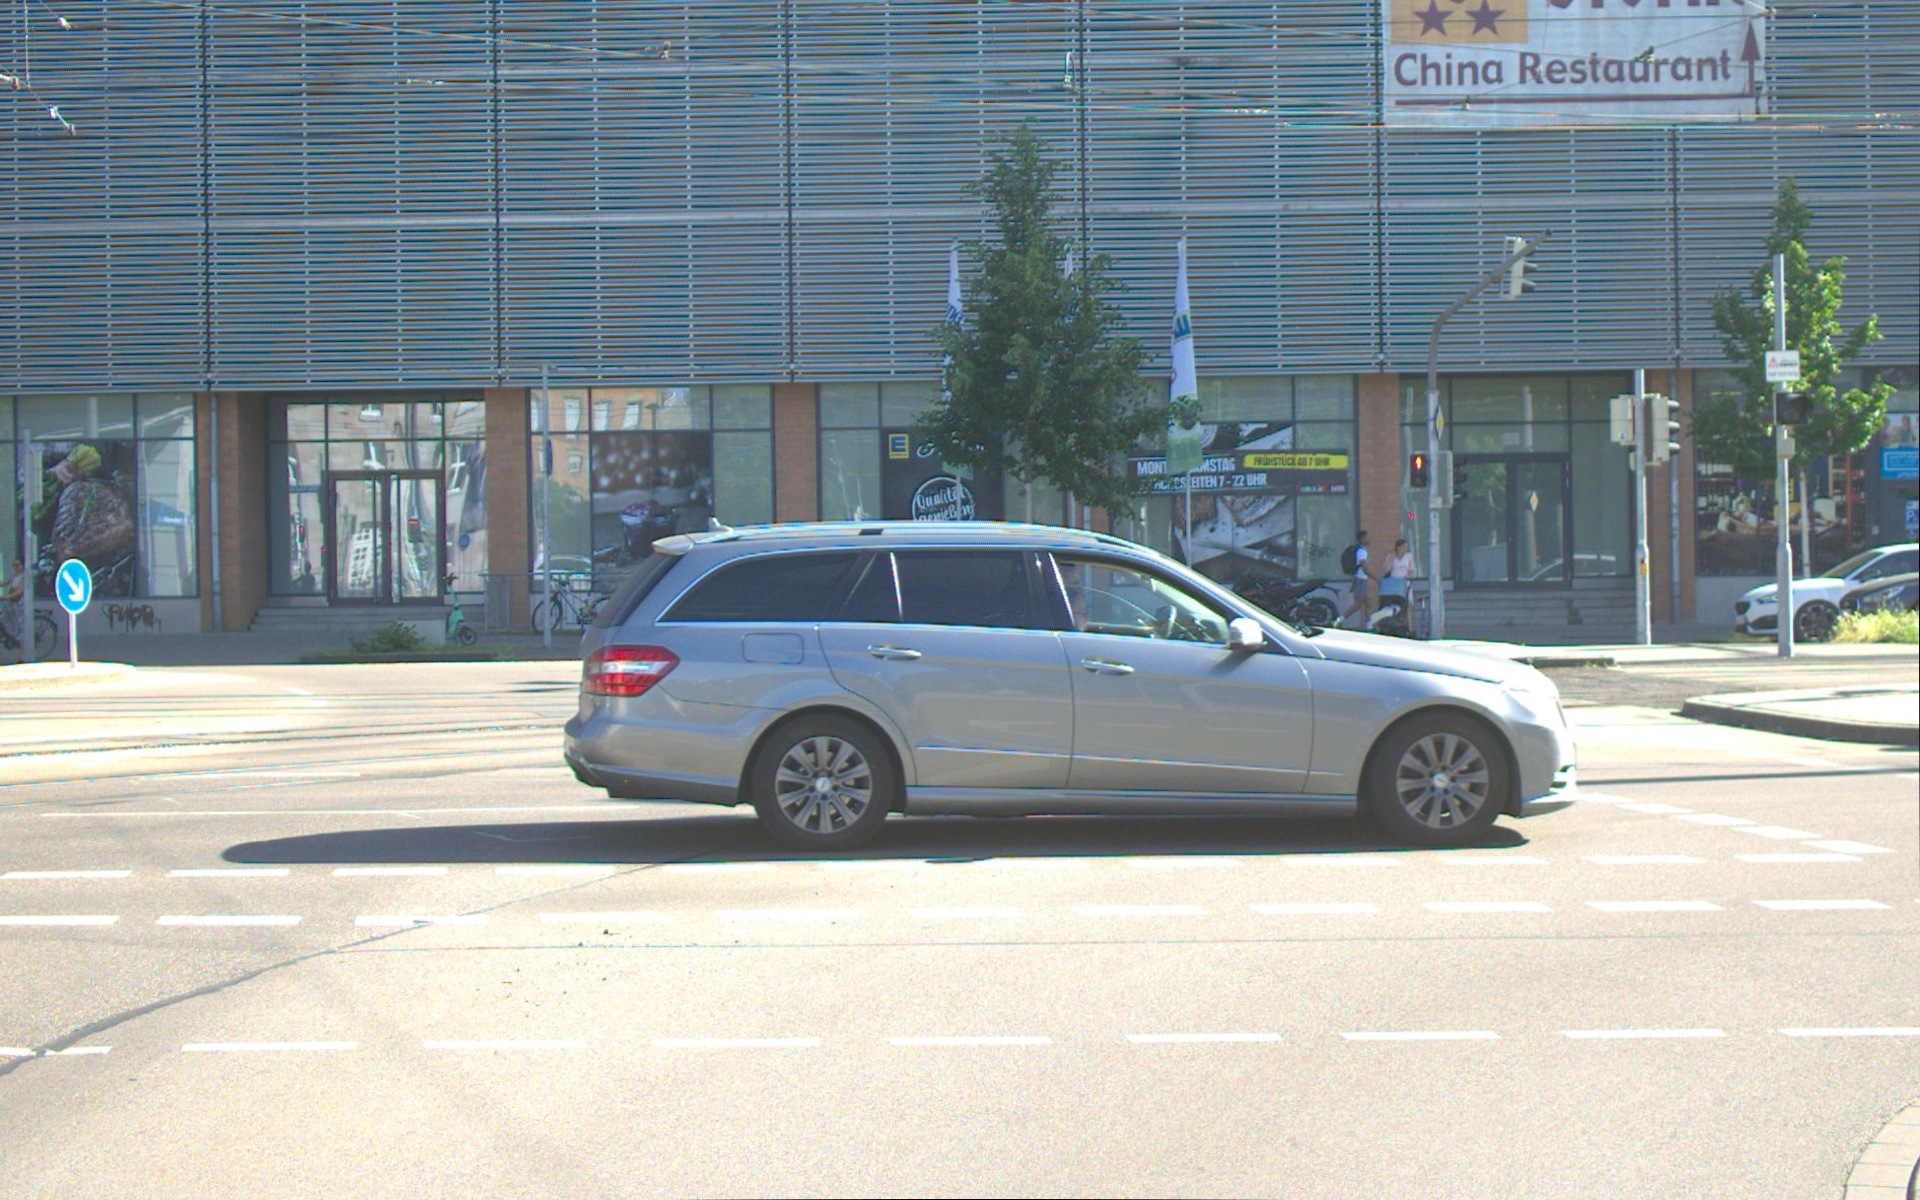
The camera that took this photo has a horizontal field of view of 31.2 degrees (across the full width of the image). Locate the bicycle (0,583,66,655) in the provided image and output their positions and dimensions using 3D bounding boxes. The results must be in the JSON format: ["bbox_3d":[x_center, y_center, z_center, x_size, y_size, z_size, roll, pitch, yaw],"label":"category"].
[{"bbox_3d":[-15.243,0.311,54.868,0.568,1.082,1.859,1,3,43],"label":"bicycle"}]

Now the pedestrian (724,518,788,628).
[{"bbox_3d":[-3.539,-0.462,59.567,0.950,1.822,0.845,-2,-3,5],"label":"pedestrian"}]

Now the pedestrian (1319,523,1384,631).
[{"bbox_3d":[6.744,-0.403,59.249,1.012,1.822,1.035,-2,1,3],"label":"pedestrian"}]

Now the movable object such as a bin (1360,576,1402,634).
[{"bbox_3d":[6.714,0.080,54.813,0.613,0.901,0.968,1,0,10],"label":"movable object such as a bin"}]

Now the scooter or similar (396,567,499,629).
[{"bbox_3d":[-9.076,-0.045,60.932,1.792,1.062,0.613,0,2,-8],"label":"scooter or similar"}]

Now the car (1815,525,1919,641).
[{"bbox_3d":[13.756,-0.141,45.851,4.146,1.464,1.841,3,0,-1],"label":"car"}]

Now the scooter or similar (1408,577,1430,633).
[{"bbox_3d":[7.353,0.077,55.097,0.295,0.870,1.003,1,0,10],"label":"scooter or similar"}]

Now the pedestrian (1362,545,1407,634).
[{"bbox_3d":[6.833,-0.175,55.274,0.655,1.409,0.849,1,0,10],"label":"pedestrian"}]

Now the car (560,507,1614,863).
[{"bbox_3d":[0.525,0.359,16.529,4.855,1.567,1.707,-1,1,-7],"label":"car"}]

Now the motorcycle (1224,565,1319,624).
[{"bbox_3d":[5.497,-0.100,60.641,1.640,1.001,0.446,1,1,6],"label":"motorcycle"}]

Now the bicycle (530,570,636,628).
[{"bbox_3d":[-6.647,-0.016,60.549,1.815,0.986,0.558,-1,2,-10],"label":"bicycle"}]

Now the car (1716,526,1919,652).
[{"bbox_3d":[13.223,-0.110,49.219,4.289,1.639,1.841,3,0,-1],"label":"car"}]

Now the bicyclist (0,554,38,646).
[{"bbox_3d":[-15.277,0.002,54.788,0.675,1.422,0.847,1,3,43],"label":"bicyclist"}]
